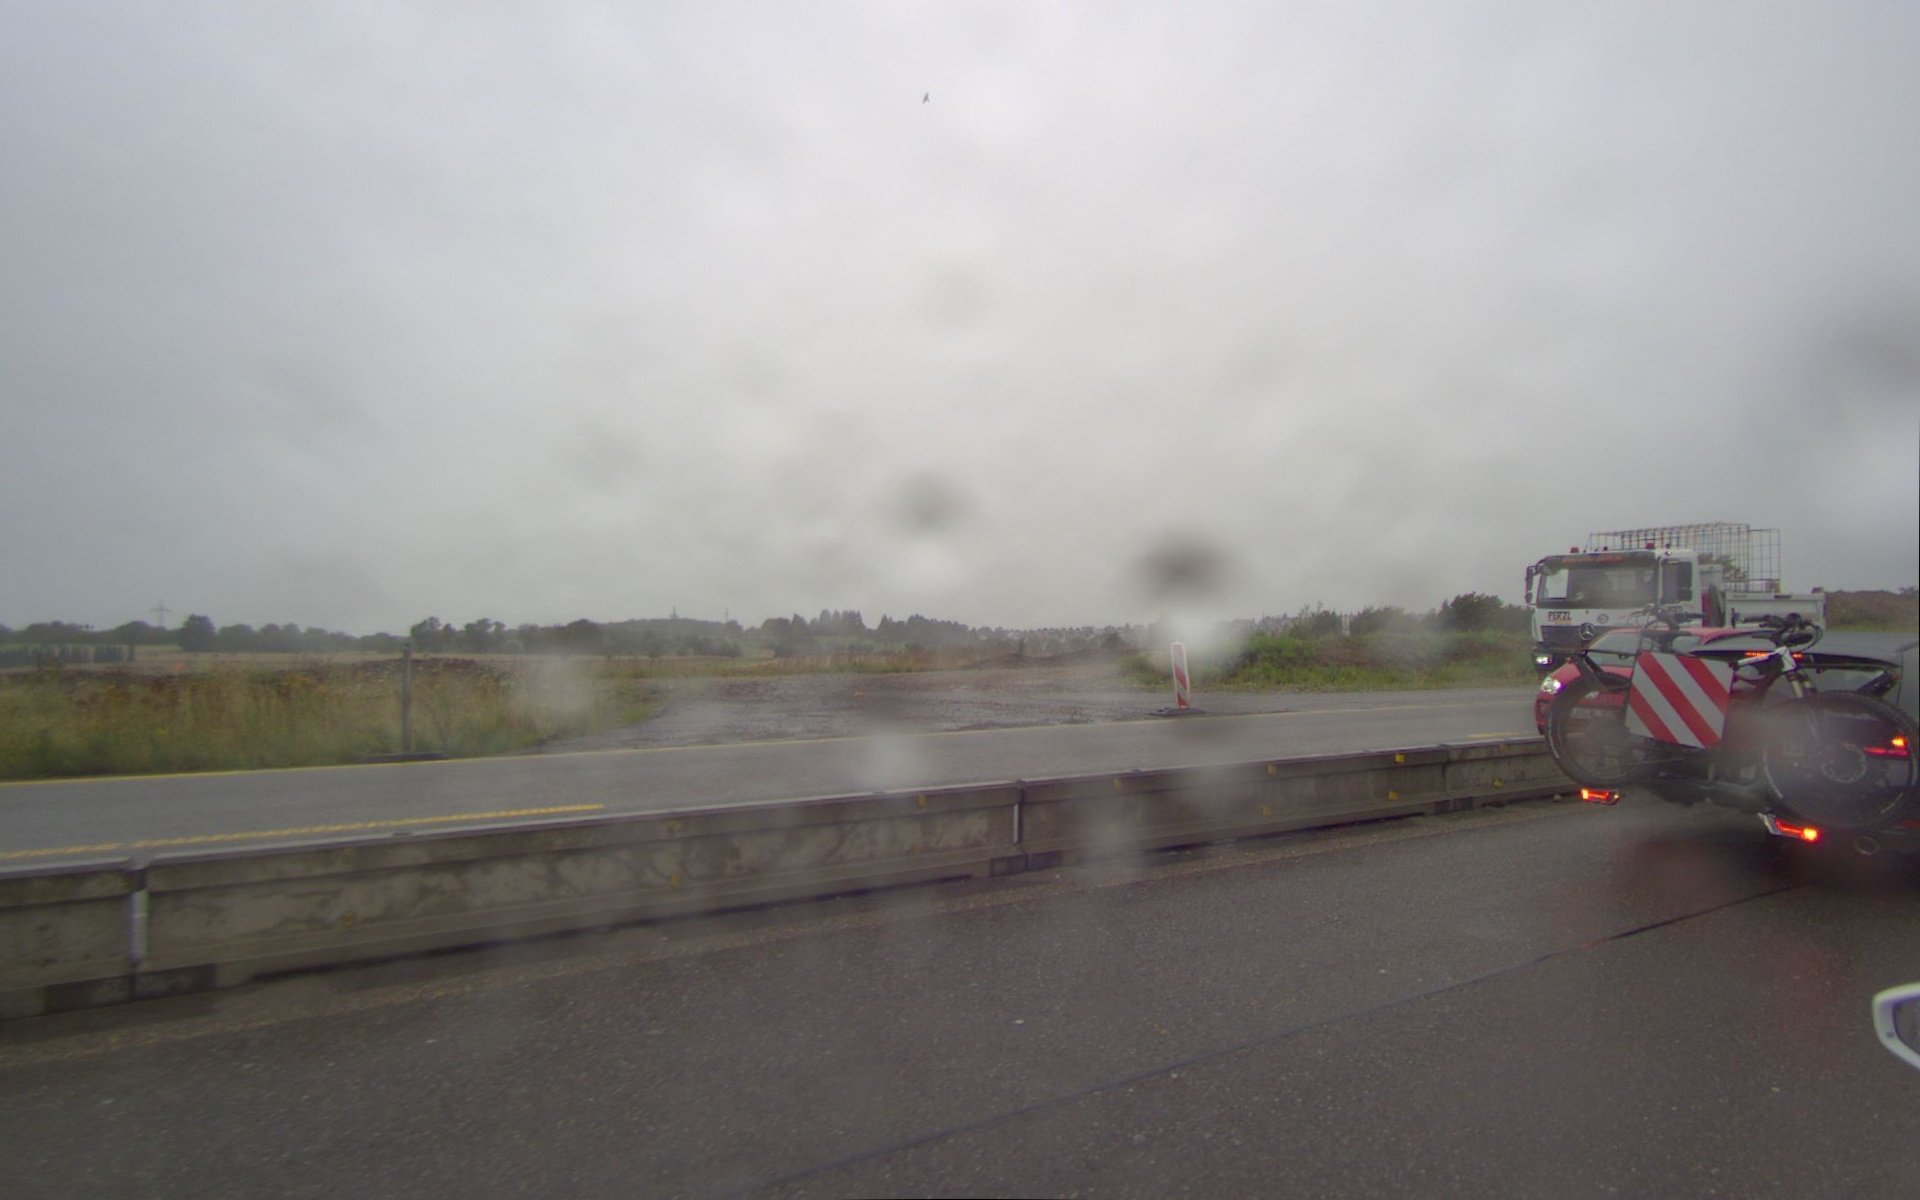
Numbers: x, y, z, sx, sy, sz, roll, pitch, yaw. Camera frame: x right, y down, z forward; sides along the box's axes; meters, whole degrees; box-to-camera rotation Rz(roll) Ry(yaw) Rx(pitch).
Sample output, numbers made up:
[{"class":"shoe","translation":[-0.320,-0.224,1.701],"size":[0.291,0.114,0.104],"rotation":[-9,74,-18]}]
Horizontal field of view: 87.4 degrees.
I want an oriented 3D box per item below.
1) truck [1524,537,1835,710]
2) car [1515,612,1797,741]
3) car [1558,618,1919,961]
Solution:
[{"class":"truck","translation":[14.126,0.494,19.615],"size":[6.467,2.932,2.349],"rotation":[1,-2,-29]},{"class":"car","translation":[8.965,0.914,12.896],"size":[3.550,1.415,1.629],"rotation":[2,0,-30]},{"class":"car","translation":[6.450,0.932,6.878],"size":[5.566,1.482,1.725],"rotation":[-1,0,-32]}]
